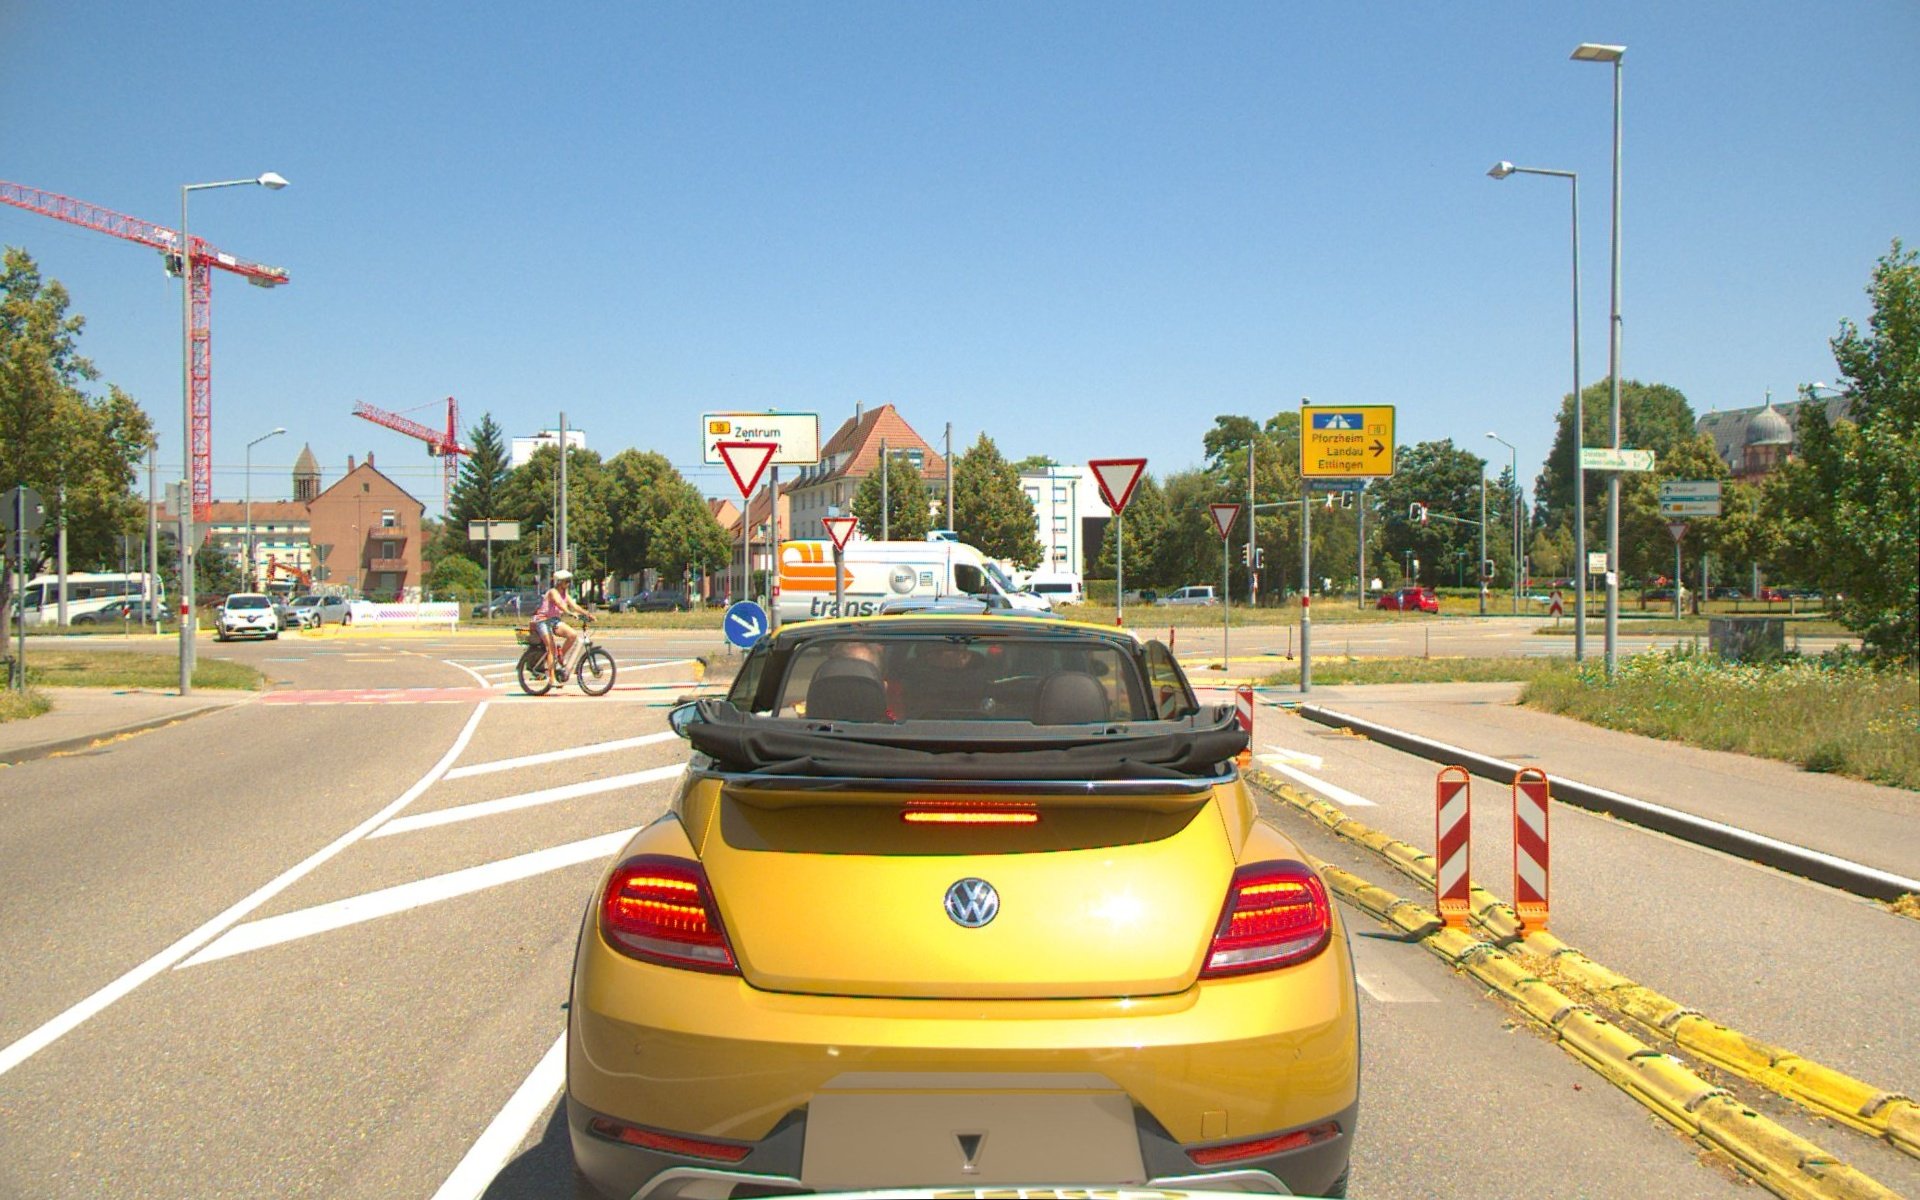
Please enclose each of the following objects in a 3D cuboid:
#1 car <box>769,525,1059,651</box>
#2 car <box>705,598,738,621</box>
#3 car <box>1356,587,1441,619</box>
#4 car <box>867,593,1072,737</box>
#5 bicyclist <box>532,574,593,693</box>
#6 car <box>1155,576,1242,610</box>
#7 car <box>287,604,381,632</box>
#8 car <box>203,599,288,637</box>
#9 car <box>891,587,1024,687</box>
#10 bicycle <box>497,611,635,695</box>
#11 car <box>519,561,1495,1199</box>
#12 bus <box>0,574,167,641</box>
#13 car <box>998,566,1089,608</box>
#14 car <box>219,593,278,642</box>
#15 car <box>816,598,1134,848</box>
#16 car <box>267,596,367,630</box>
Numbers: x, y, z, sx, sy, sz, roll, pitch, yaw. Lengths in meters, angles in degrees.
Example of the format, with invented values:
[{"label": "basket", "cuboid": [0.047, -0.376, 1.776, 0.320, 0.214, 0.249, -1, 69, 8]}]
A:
[{"label": "car", "cuboid": [-1.072, -0.303, 40.049, 6.715, 2.877, 2.002, 1, 0, 10]}, {"label": "car", "cuboid": [-18.901, 0.734, 130.794, 1.856, 1.803, 3.977, 1, 0, -19]}, {"label": "car", "cuboid": [24.493, 0.163, 92.438, 1.885, 1.683, 4.279, 1, 0, -43]}, {"label": "car", "cuboid": [0.057, 0.657, 18.631, 2.023, 1.406, 4.257, 1, 0, -1]}, {"label": "bicyclist", "cuboid": [-6.056, 0.507, 25.209, 0.656, 1.783, 0.592, -1, 1, 20]}, {"label": "car", "cuboid": [15.419, -0.440, 106.954, 5.203, 2.107, 1.993, 1, 0, 23]}, {"label": "car", "cuboid": [-32.767, 0.964, 86.599, 1.723, 1.395, 4.300, 1, 0, 44]}, {"label": "car", "cuboid": [-27.161, 0.672, 63.032, 1.713, 1.395, 4.325, 1, 0, -6]}, {"label": "car", "cuboid": [-0.077, 0.551, 27.614, 2.023, 1.506, 4.542, -1, 0, -1]}, {"label": "bicycle", "cuboid": [-6.005, 0.794, 25.198, 2.049, 1.242, 0.634, -1, 0, 22]}, {"label": "car", "cuboid": [0.058, 0.708, 5.082, 1.729, 1.507, 4.257, 1, 0, -1]}, {"label": "bus", "cuboid": [-44.048, 0.378, 83.232, 7.135, 3.228, 2.251, 1, 0, -16]}, {"label": "car", "cuboid": [5.100, -0.780, 100.728, 5.198, 2.439, 1.995, 1, 0, 16]}, {"label": "car", "cuboid": [-24.173, 0.566, 56.119, 1.753, 1.554, 3.842, -1, 0, -25]}, {"label": "car", "cuboid": [0.058, 0.703, 11.638, 1.814, 1.389, 4.257, -1, 0, -1]}, {"label": "car", "cuboid": [-27.938, 0.558, 72.007, 1.691, 1.427, 4.272, 1, 0, 18]}]
